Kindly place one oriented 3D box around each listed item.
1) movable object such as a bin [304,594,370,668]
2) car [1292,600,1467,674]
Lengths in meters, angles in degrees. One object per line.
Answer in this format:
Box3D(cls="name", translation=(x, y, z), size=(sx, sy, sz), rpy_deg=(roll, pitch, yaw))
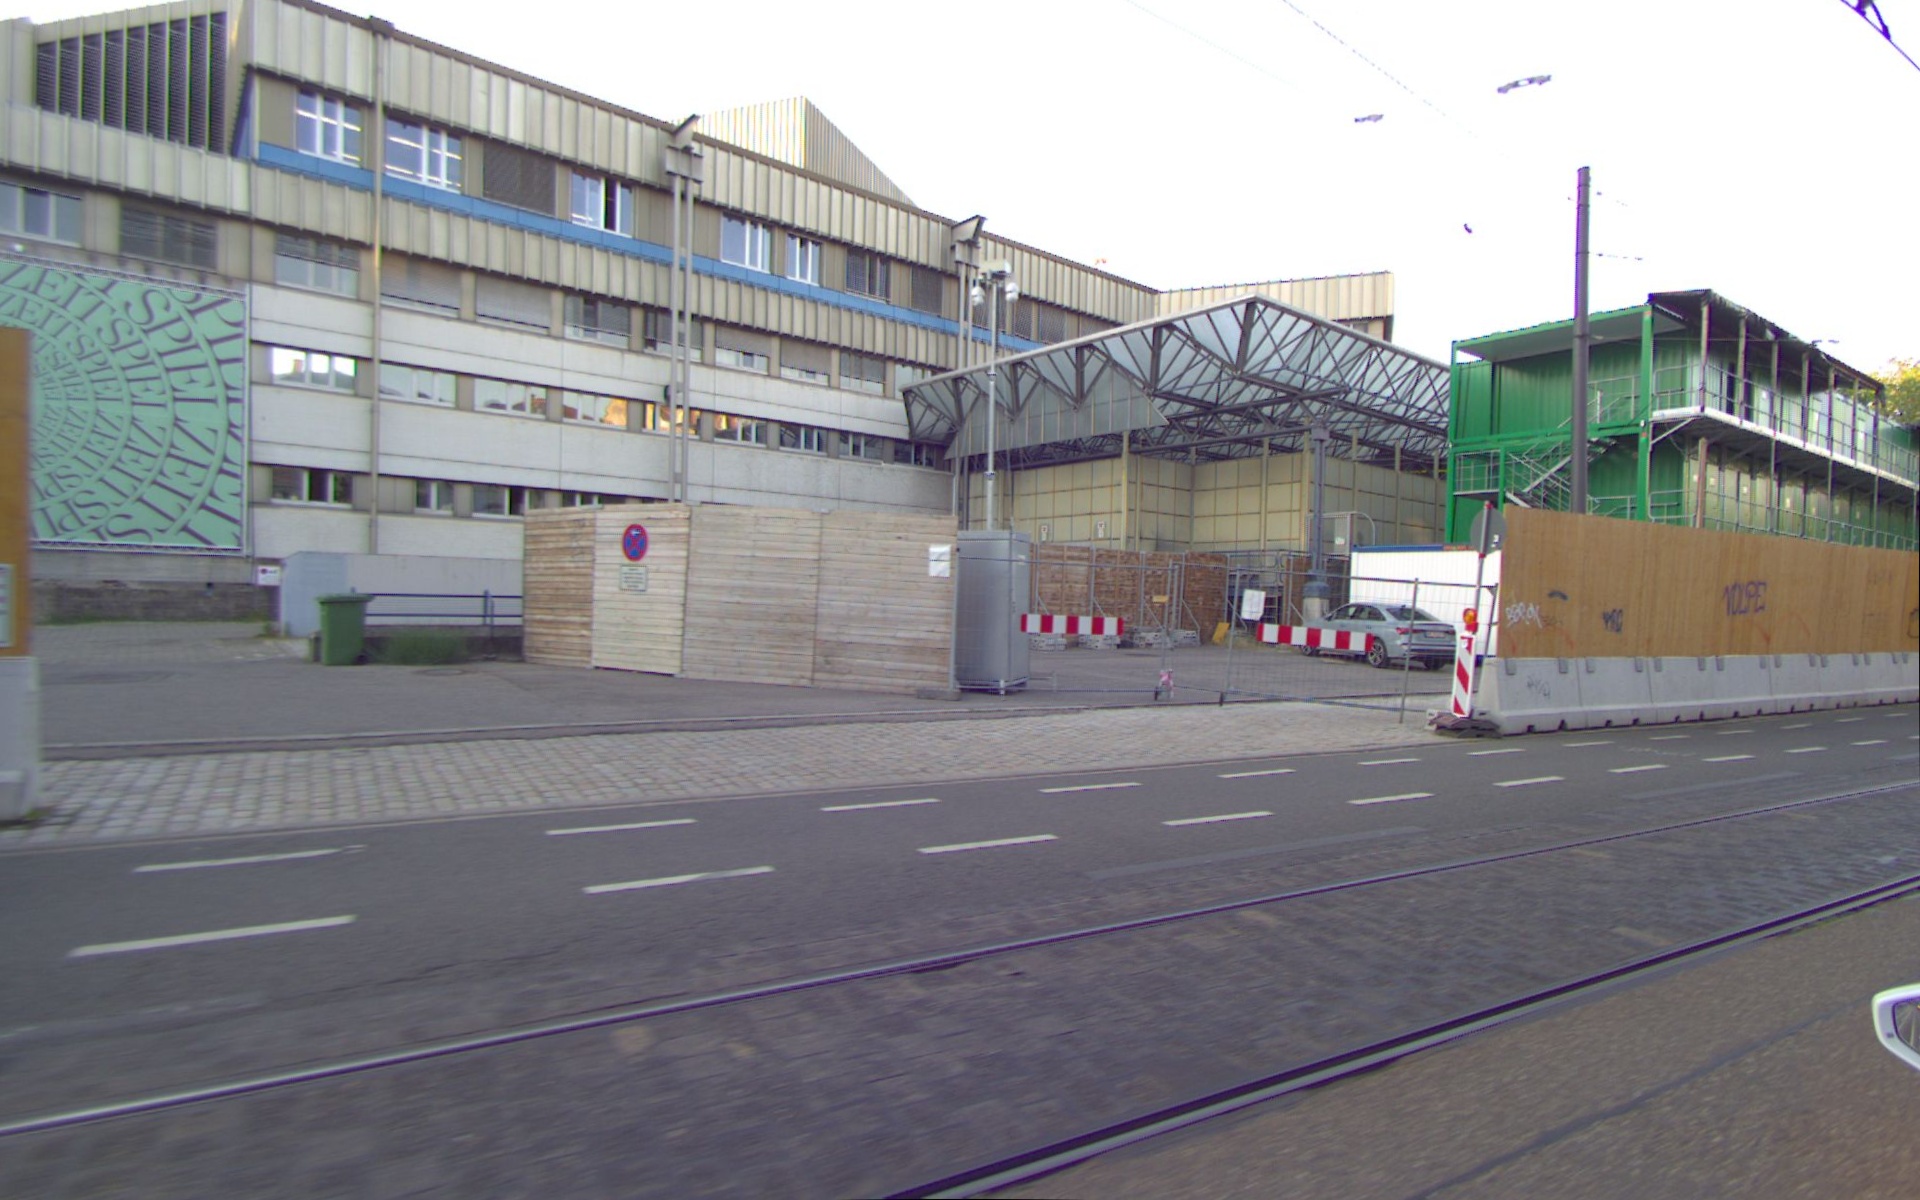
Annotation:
Box3D(cls="movable object such as a bin", translation=(-9.307, 0.452, 14.997), size=(0.756, 1.049, 0.832), rpy_deg=(1, 1, -38))
Box3D(cls="car", translation=(9.812, 0.820, 23.835), size=(1.707, 1.421, 3.994), rpy_deg=(1, 2, -15))
